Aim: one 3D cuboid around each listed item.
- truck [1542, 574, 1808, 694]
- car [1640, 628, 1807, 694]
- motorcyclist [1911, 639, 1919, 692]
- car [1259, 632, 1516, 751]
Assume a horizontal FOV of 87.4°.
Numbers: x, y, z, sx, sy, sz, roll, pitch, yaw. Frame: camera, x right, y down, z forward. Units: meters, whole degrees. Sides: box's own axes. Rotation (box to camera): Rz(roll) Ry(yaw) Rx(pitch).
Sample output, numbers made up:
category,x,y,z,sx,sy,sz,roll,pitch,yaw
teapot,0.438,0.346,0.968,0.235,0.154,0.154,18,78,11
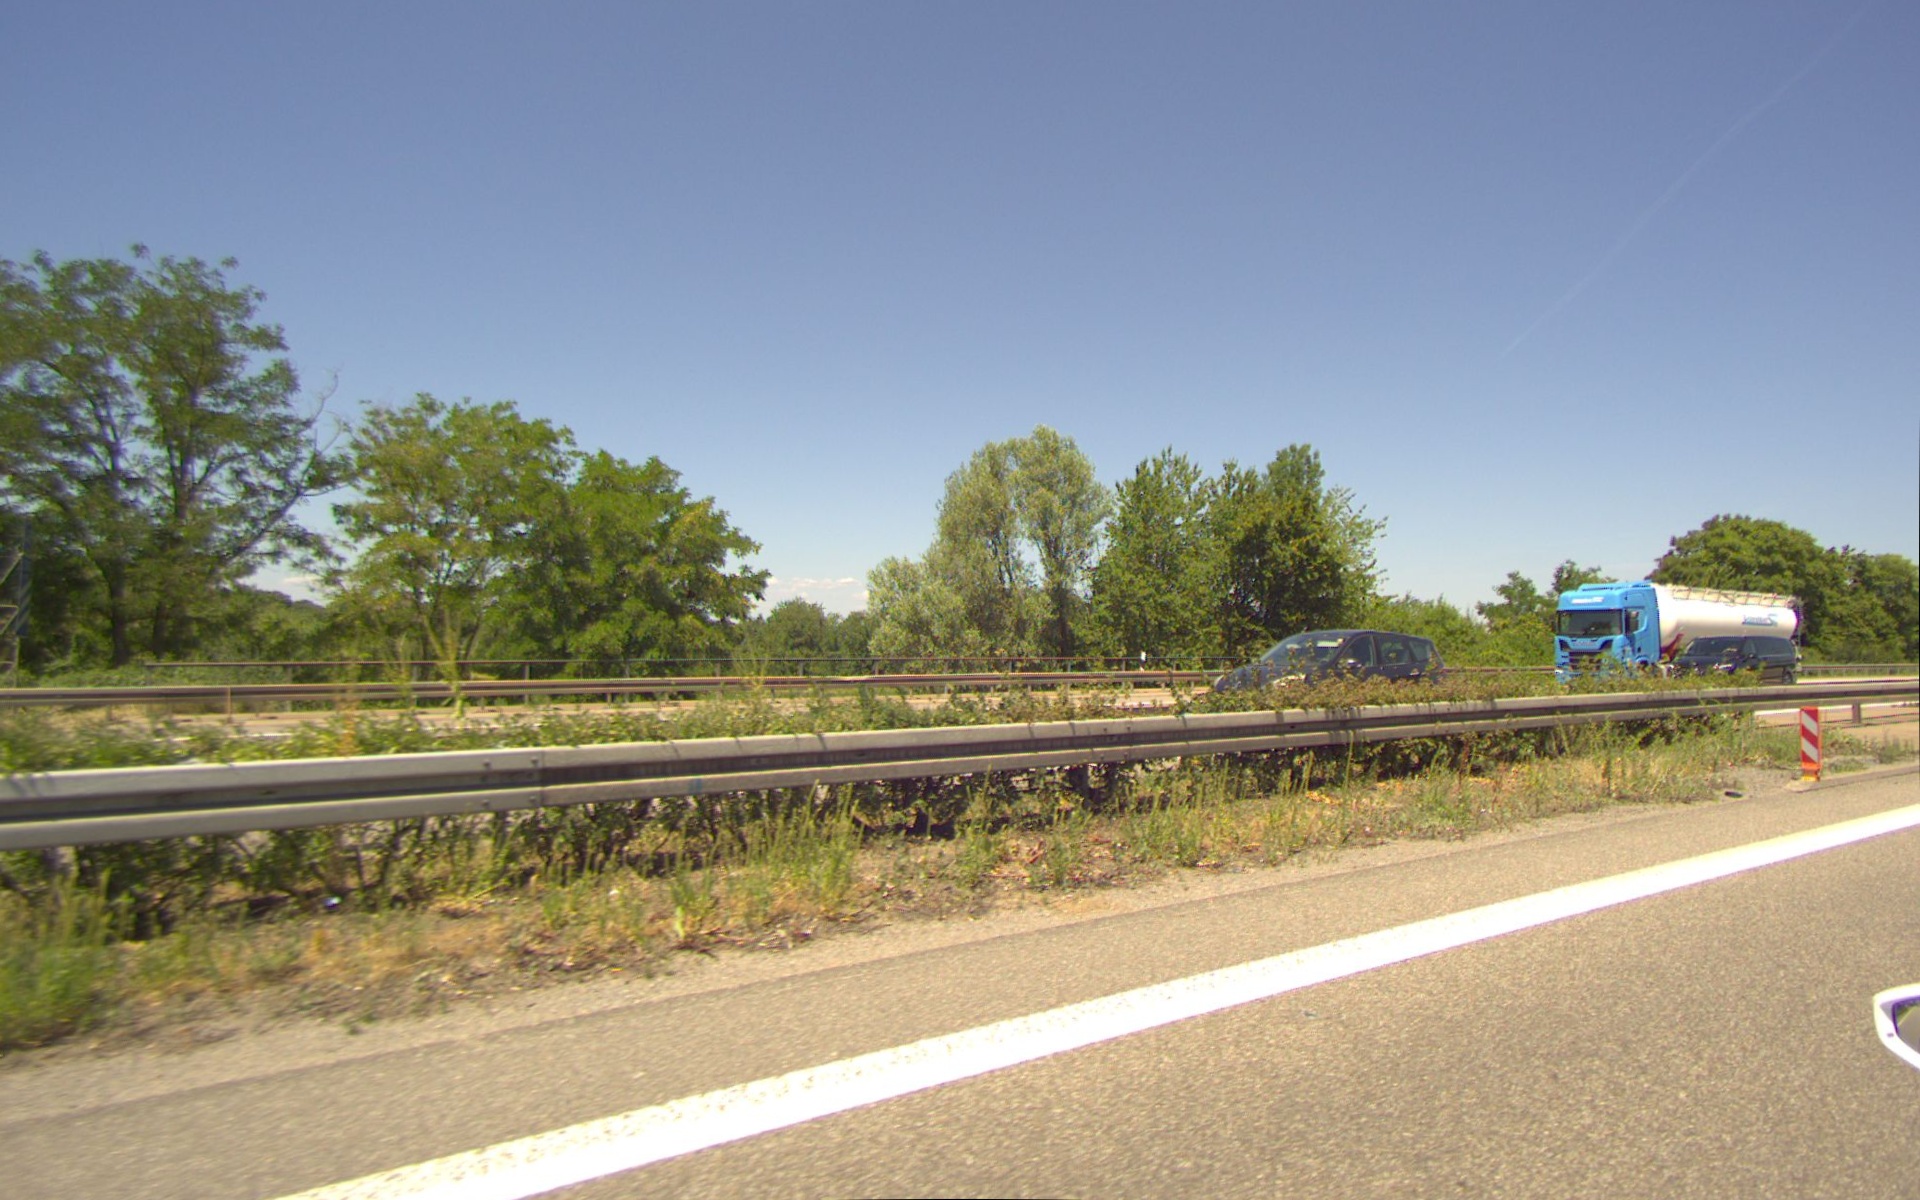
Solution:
category,x,y,z,sx,sy,sz,roll,pitch,yaw
truck,28.741,1.463,39.850,15.758,4.106,2.715,2,-2,-32
car,24.759,1.924,32.522,5.718,1.943,2.400,1,-2,-32
motorcyclist,28.675,1.913,29.349,1.320,1.540,0.966,2,-4,-33
car,7.153,1.430,16.740,4.047,1.753,1.983,1,-2,-32
